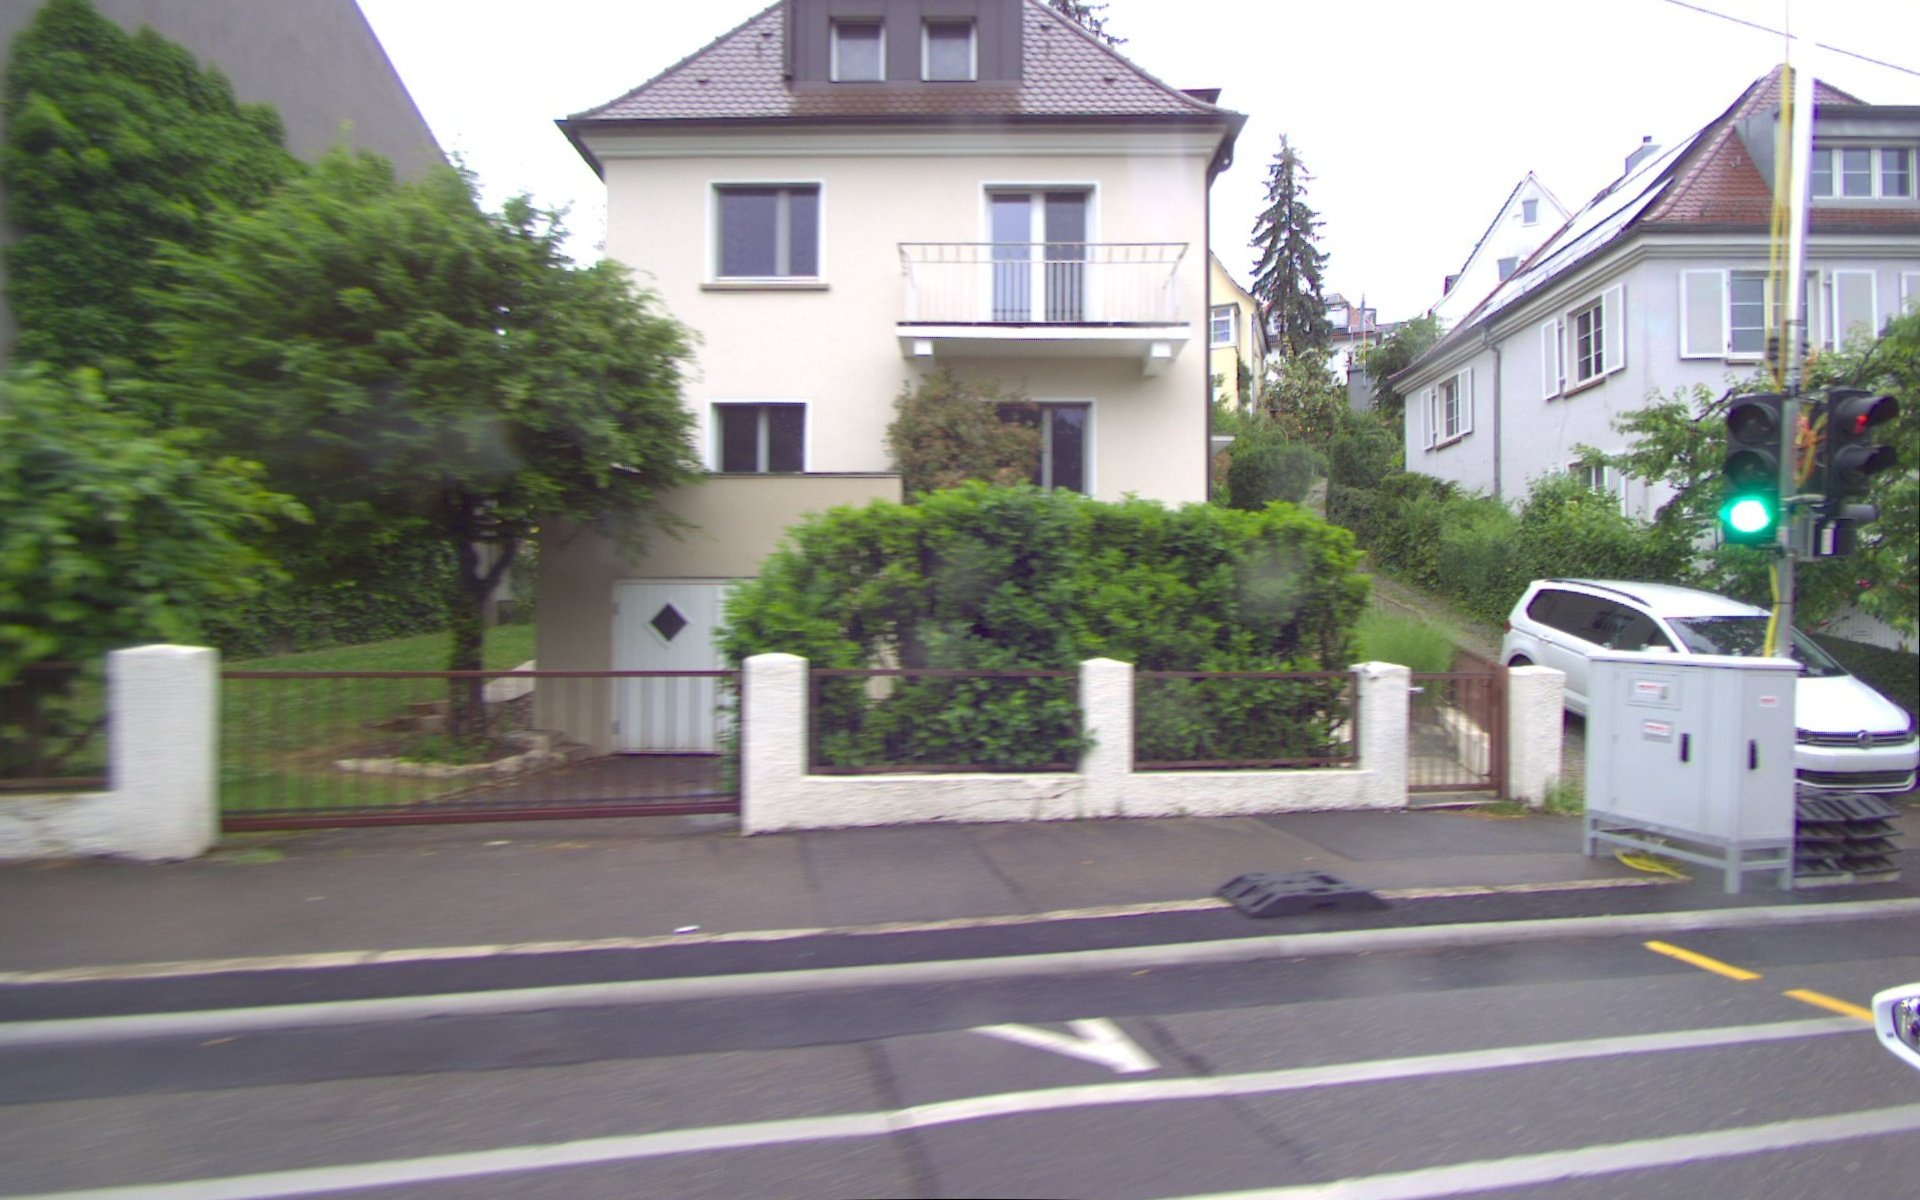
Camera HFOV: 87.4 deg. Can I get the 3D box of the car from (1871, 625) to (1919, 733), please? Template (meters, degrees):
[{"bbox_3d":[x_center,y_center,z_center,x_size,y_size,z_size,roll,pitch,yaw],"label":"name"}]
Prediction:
[{"bbox_3d":[14.801,1.139,13.181,1.904,1.545,3.998,2,-1,-4],"label":"car"}]

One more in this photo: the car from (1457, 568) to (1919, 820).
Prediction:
[{"bbox_3d":[7.861,0.764,11.216,1.828,1.640,4.973,1,9,-3],"label":"car"}]
